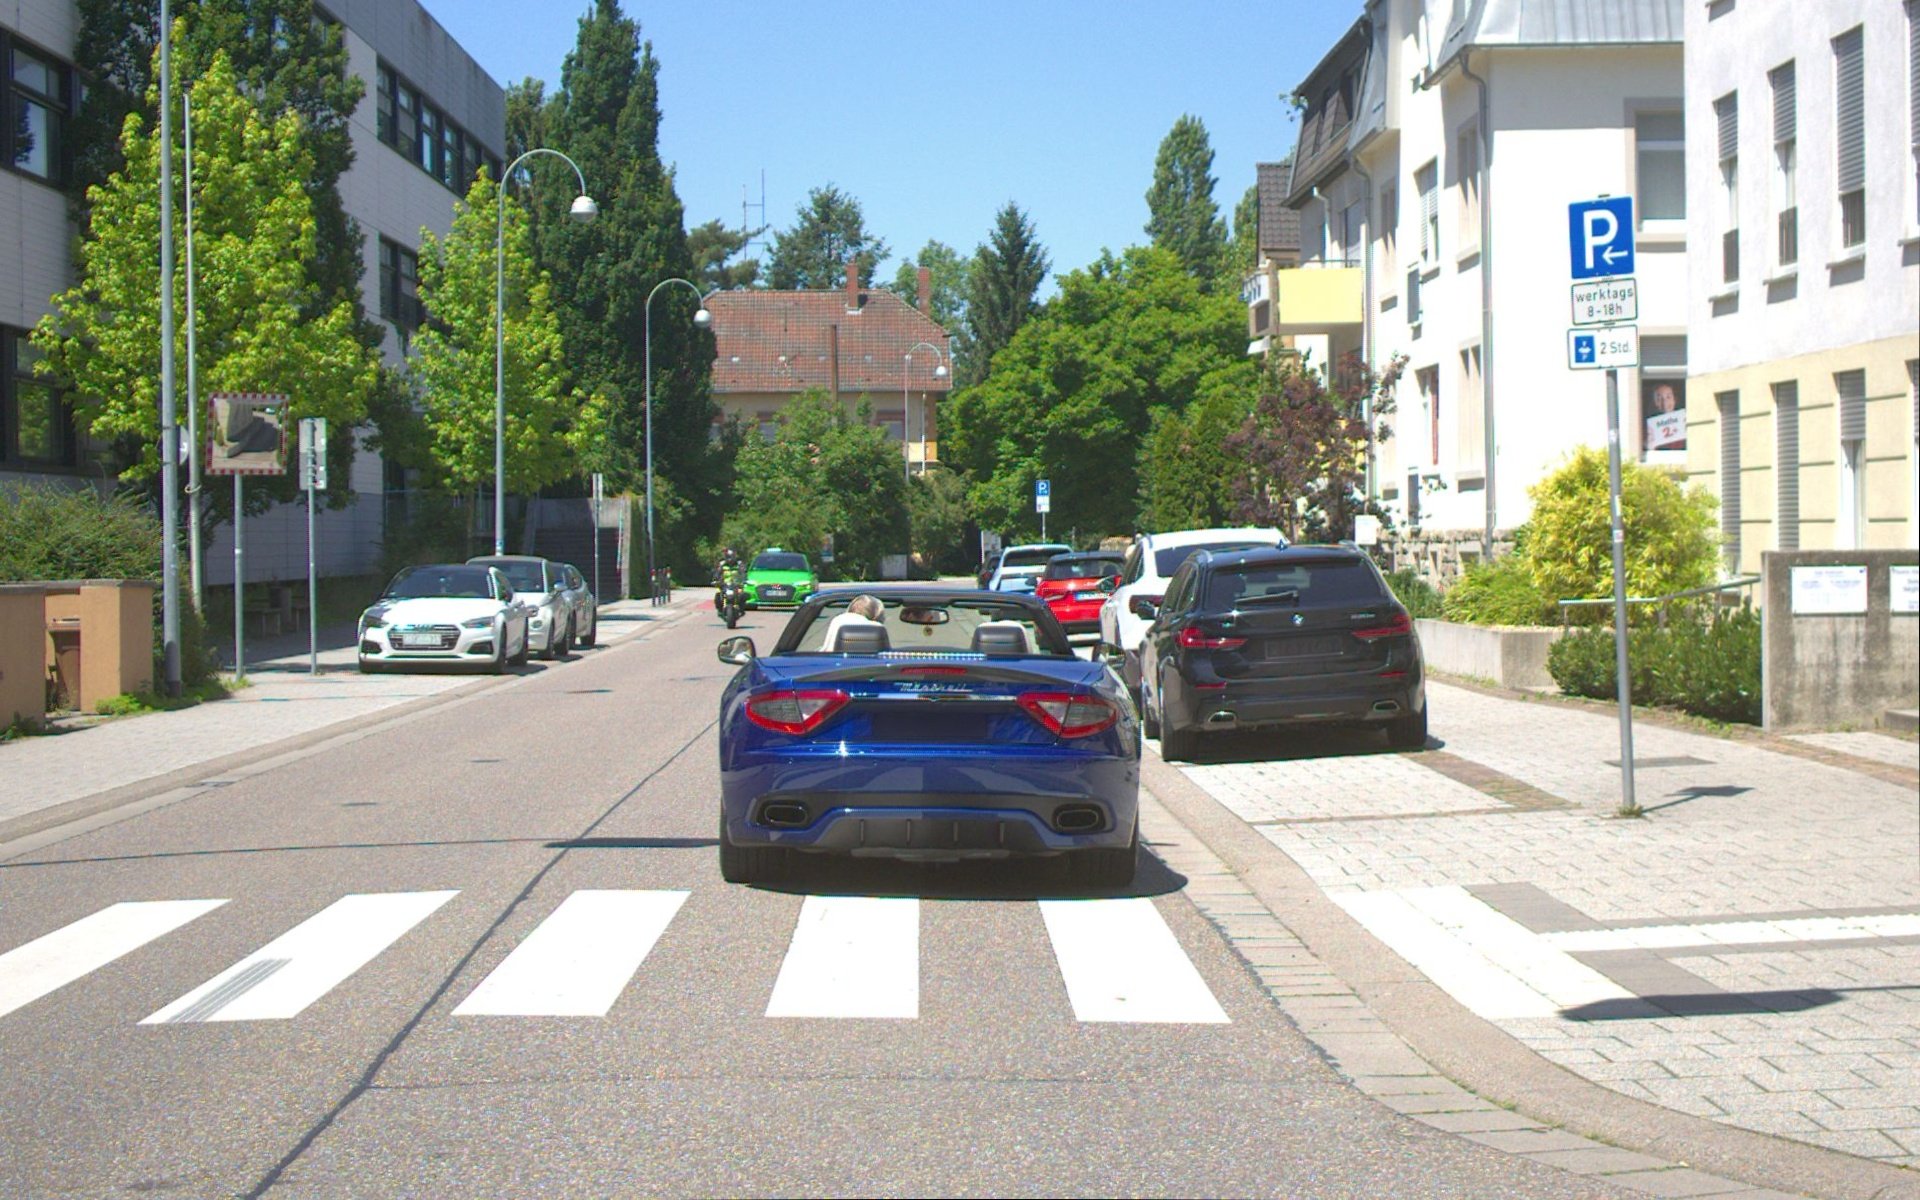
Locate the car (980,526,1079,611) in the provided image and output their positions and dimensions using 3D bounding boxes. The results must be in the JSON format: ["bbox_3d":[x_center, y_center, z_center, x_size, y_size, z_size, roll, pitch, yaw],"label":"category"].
[{"bbox_3d":[1.383,-0.662,70.021,1.843,1.614,4.427,-2,1,0],"label":"car"}]

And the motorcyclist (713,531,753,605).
[{"bbox_3d":[-4.483,-0.638,68.056,0.699,1.428,0.707,-2,1,0],"label":"motorcyclist"}]

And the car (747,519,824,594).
[{"bbox_3d":[-4.314,-1.089,84.525,1.822,1.582,4.102,0,4,-4],"label":"car"}]

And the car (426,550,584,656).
[{"bbox_3d":[-6.730,0.009,51.205,1.822,1.507,4.290,0,1,-1],"label":"car"}]

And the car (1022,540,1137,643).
[{"bbox_3d":[1.825,-0.158,53.355,1.603,1.436,3.853,-3,1,0],"label":"car"}]

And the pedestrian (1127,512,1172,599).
[{"bbox_3d":[3.754,-0.880,67.996,0.740,1.664,0.706,-3,1,-2],"label":"pedestrian"}]

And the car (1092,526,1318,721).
[{"bbox_3d":[2.184,0.152,31.681,1.705,1.660,4.580,0,1,0],"label":"car"}]

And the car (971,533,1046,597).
[{"bbox_3d":[1.165,-0.871,84.637,1.631,1.441,4.398,-3,1,-1],"label":"car"}]

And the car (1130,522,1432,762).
[{"bbox_3d":[2.290,0.238,25.658,1.705,1.551,4.748,-3,1,0],"label":"car"}]

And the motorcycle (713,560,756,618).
[{"bbox_3d":[-4.470,-0.231,68.260,0.699,1.103,1.790,-2,1,0],"label":"motorcycle"}]

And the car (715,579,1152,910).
[{"bbox_3d":[-0.146,0.597,16.865,1.826,1.332,4.700,1,1,-1],"label":"car"}]

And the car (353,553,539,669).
[{"bbox_3d":[-6.769,0.109,45.696,1.822,1.406,4.578,1,1,-1],"label":"car"}]

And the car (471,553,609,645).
[{"bbox_3d":[-6.856,-0.048,56.418,1.748,1.404,3.933,-1,1,0],"label":"car"}]
